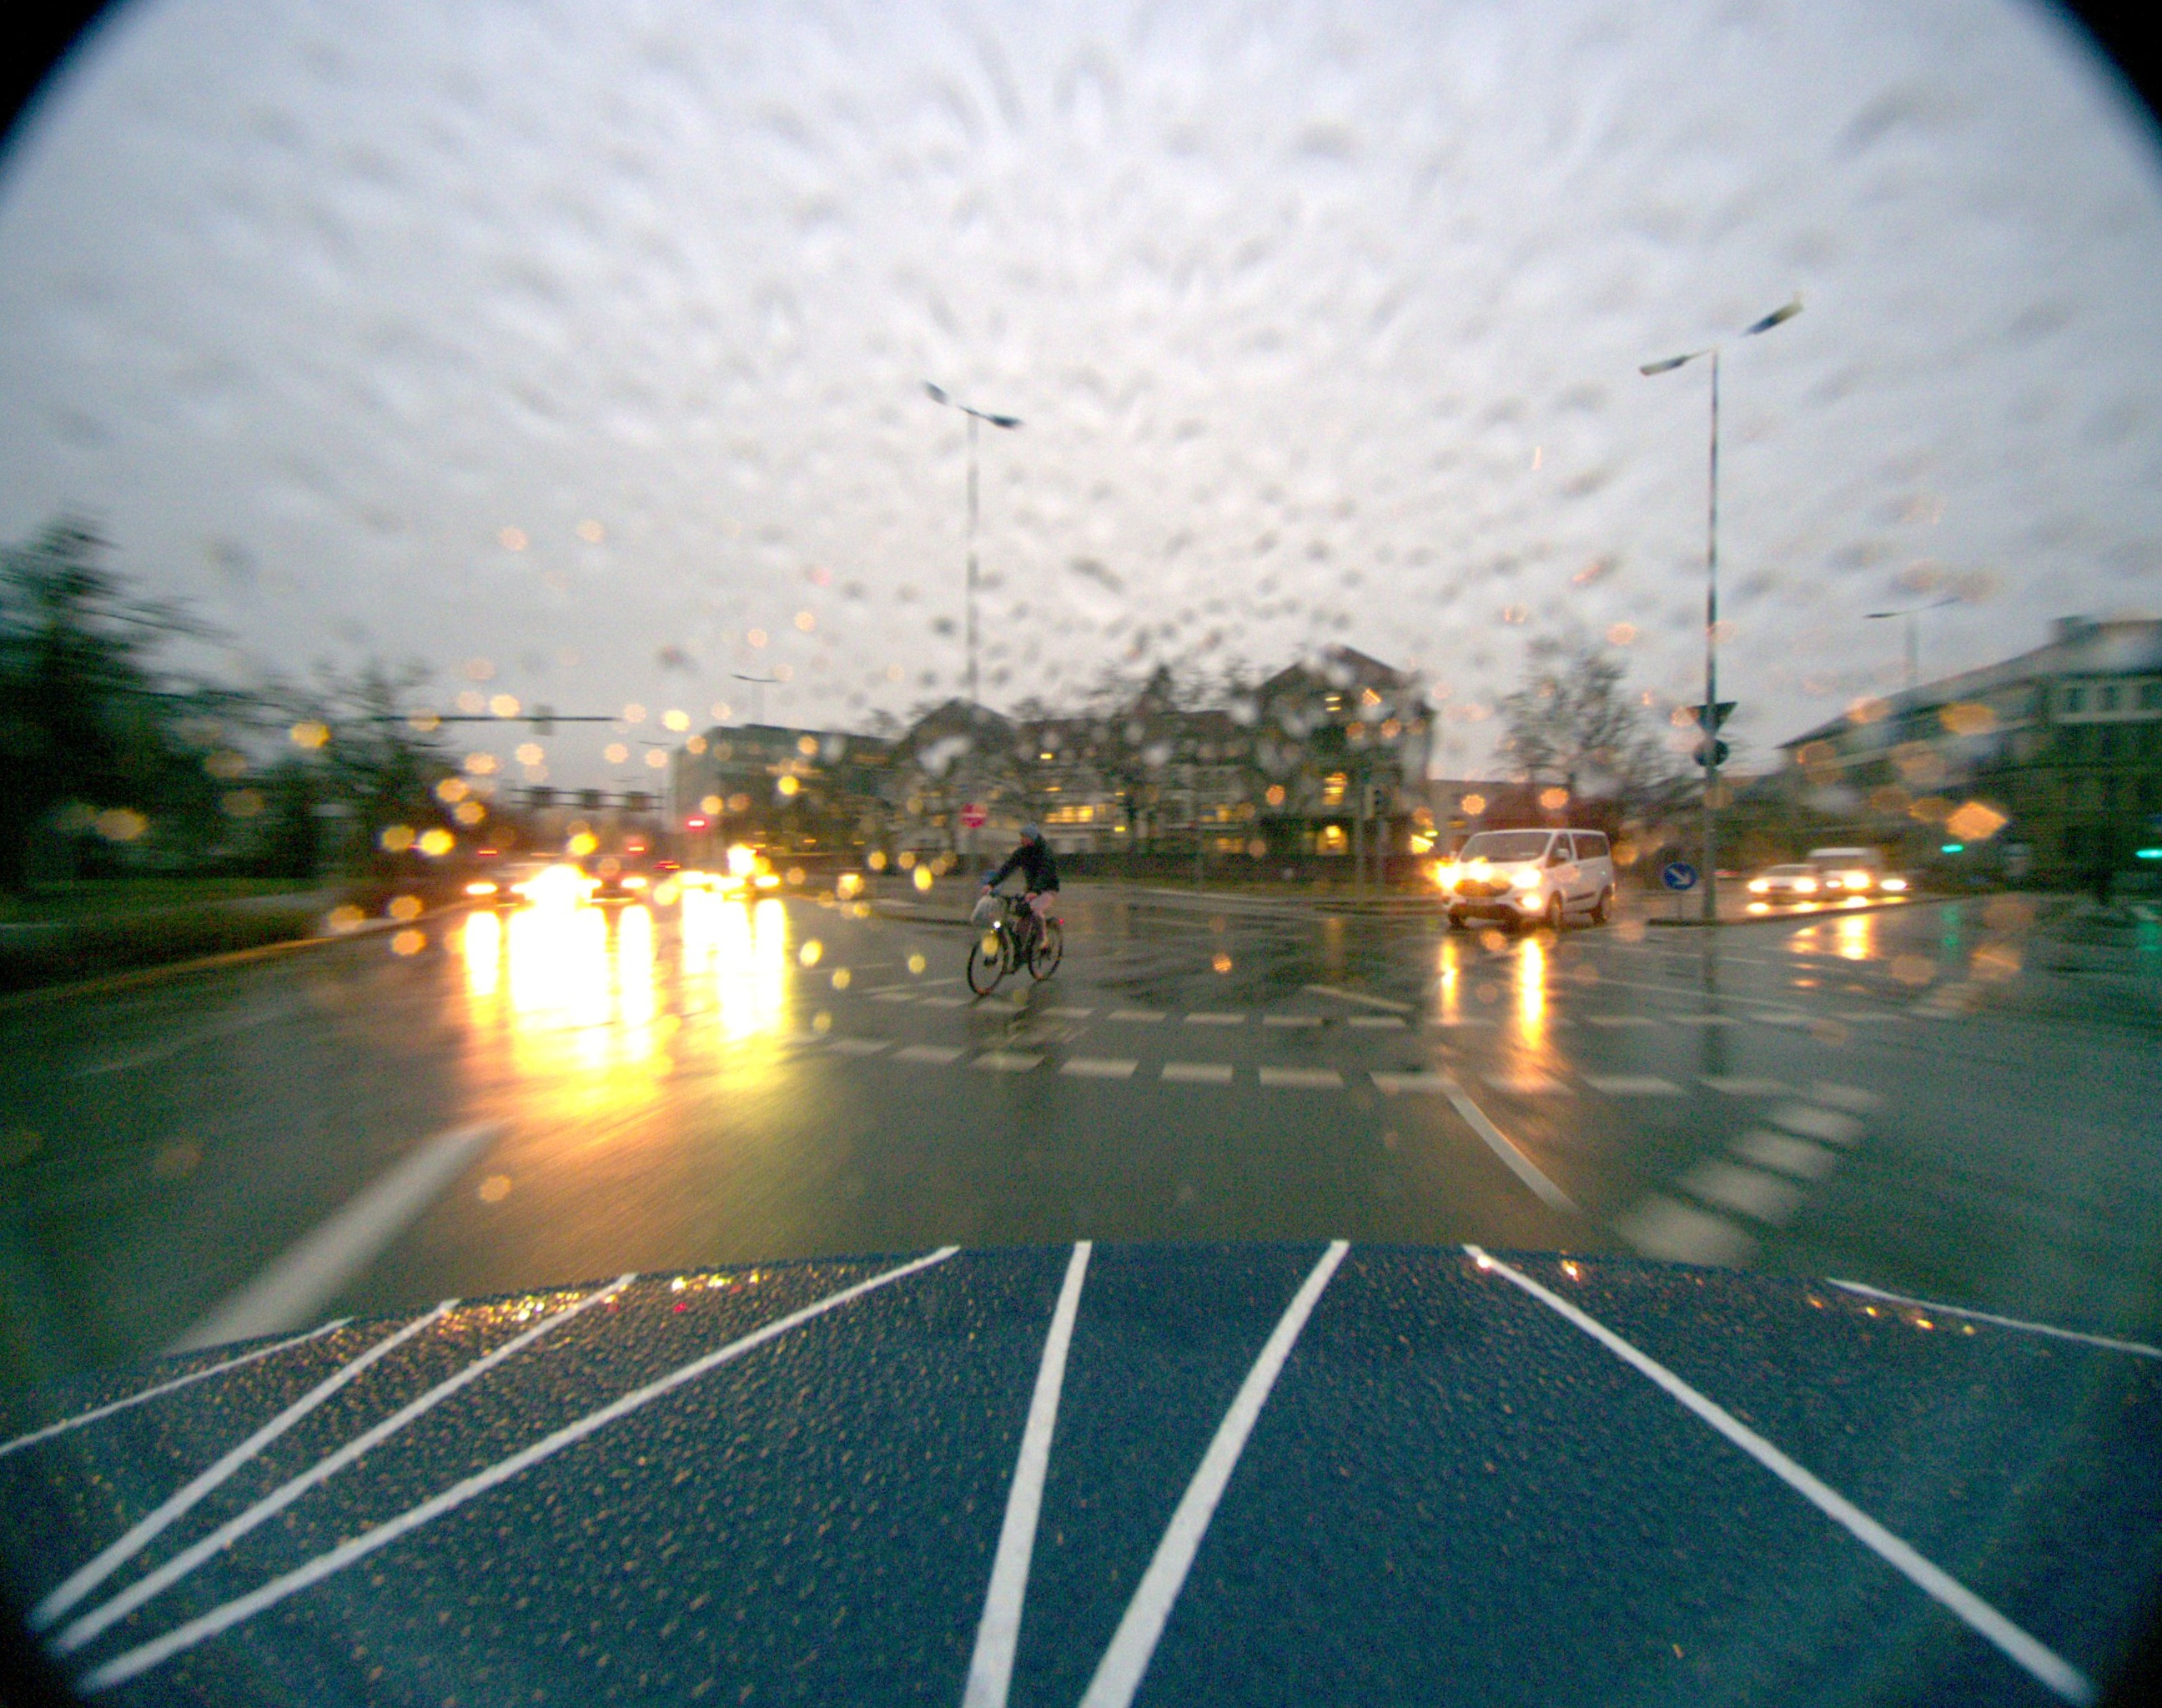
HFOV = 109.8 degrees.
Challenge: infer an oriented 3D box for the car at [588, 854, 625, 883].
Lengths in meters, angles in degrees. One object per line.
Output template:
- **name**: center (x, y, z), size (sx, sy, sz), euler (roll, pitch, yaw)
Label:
- **car**: center (-32.296, 0.943, 51.676), size (2.004, 1.912, 4.256), euler (1, 0, -33)

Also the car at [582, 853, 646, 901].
- **car**: center (-18.642, 0.853, 30.225), size (2.004, 1.739, 4.932), euler (1, 0, -33)

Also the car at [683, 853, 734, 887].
- **car**: center (-21.674, 0.902, 44.124), size (2.004, 1.739, 4.459), euler (4, -2, -33)

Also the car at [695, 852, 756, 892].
- **car**: center (-18.344, 0.906, 39.105), size (2.005, 1.738, 4.459), euler (9, -4, -33)

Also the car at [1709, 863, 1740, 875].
- **car**: center (86.112, 1.984, 101.720), size (1.884, 1.521, 4.007), euler (1, 0, 21)

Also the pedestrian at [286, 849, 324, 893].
- **pedestrian**: center (-32.664, 0.710, 31.996), size (0.935, 1.815, 0.832), euler (1, 0, -33)

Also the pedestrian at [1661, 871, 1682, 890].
- **pedestrian**: center (42.085, 1.871, 54.140), size (0.980, 1.309, 0.816), euler (1, 0, 23)

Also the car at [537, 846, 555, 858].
- **car**: center (-85.109, -0.319, 120.855), size (2.147, 1.805, 3.989), euler (1, 0, -34)

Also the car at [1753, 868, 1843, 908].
- **car**: center (28.399, 1.310, 30.064), size (4.326, 1.494, 1.751), euler (1, -3, -35)

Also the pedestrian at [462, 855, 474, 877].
- **pedestrian**: center (-57.414, 1.137, 71.187), size (0.767, 2.002, 0.771), euler (0, 1, -34)

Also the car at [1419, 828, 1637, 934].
- **car**: center (9.507, 0.571, 16.008), size (5.027, 1.909, 2.133), euler (1, -3, -37)

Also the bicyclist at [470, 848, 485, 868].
- **bicyclist**: center (-44.376, 0.294, 55.874), size (0.769, 1.481, 0.992), euler (1, 1, -33)

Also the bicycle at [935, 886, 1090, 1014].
- **bicycle**: center (-0.734, 1.033, 8.833), size (0.793, 1.215, 1.908), euler (-1, 0, 31)

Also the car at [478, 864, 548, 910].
- **car**: center (-20.916, 1.157, 28.135), size (1.778, 1.478, 4.459), euler (1, 0, -33)

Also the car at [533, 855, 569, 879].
- **car**: center (-38.112, 0.926, 54.726), size (2.004, 1.657, 3.989), euler (1, 0, -33)

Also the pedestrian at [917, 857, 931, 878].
- **pedestrian**: center (-13.706, 1.172, 66.341), size (0.810, 1.820, 0.945), euler (1, 0, -37)

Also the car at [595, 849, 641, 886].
- **car**: center (-24.585, 0.695, 40.325), size (2.004, 1.892, 3.990), euler (1, 0, -32)

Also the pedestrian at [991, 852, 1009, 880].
- **pedestrian**: center (-5.267, 0.794, 49.448), size (0.810, 1.820, 0.945), euler (1, 0, -37)

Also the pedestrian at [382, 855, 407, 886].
- **pedestrian**: center (-40.206, 0.950, 44.489), size (0.935, 1.815, 0.832), euler (1, 0, -33)

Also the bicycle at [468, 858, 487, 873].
- **bicycle**: center (-44.341, 0.823, 55.844), size (0.796, 1.009, 2.895), euler (1, 0, -33)

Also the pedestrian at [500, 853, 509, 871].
- **pedestrian**: center (-58.312, 0.831, 76.857), size (0.625, 1.790, 0.935), euler (1, 0, -31)

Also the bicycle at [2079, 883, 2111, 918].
- **bicycle**: center (36.183, 1.655, 27.126), size (1.877, 1.169, 0.622), euler (1, 1, -38)

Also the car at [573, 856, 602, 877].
- **car**: center (-42.277, 1.066, 65.071), size (2.004, 1.689, 4.515), euler (0, 0, -33)

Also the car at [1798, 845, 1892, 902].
- **car**: center (35.954, 0.941, 35.719), size (5.880, 2.502, 2.342), euler (1, -3, -38)

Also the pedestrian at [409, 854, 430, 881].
- **pedestrian**: center (-45.285, 0.912, 52.030), size (0.935, 1.815, 0.832), euler (1, 0, -33)

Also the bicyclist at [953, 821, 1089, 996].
- **bicyclist**: center (-0.677, 0.584, 8.891), size (1.024, 1.872, 1.238), euler (-1, 1, 31)

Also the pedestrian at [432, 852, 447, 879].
- **pedestrian**: center (-48.358, 0.870, 57.295), size (0.767, 2.002, 0.908), euler (0, 1, -34)

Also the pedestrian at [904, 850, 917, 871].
- **pedestrian**: center (-15.197, 0.597, 67.592), size (0.810, 1.820, 0.945), euler (1, 0, -37)

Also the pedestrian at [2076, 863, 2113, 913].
- **pedestrian**: center (36.245, 1.193, 27.181), size (0.984, 1.724, 0.715), euler (1, 1, -37)

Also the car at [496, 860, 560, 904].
- **car**: center (-24.751, 1.202, 34.137), size (2.004, 1.827, 3.990), euler (1, 0, -31)

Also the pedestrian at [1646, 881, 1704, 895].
- **pedestrian**: center (42.222, 2.427, 54.043), size (3.092, 0.924, 0.950), euler (-2, -2, 23)

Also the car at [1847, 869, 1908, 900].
- **car**: center (44.593, 1.670, 42.523), size (4.827, 1.634, 1.834), euler (1, 0, -38)

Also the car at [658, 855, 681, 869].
- **car**: center (-48.056, 0.933, 88.685), size (2.004, 1.558, 4.460), euler (3, -2, -32)

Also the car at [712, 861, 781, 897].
- **car**: center (-14.187, 1.014, 32.056), size (1.935, 1.368, 4.486), euler (1, 0, -33)
